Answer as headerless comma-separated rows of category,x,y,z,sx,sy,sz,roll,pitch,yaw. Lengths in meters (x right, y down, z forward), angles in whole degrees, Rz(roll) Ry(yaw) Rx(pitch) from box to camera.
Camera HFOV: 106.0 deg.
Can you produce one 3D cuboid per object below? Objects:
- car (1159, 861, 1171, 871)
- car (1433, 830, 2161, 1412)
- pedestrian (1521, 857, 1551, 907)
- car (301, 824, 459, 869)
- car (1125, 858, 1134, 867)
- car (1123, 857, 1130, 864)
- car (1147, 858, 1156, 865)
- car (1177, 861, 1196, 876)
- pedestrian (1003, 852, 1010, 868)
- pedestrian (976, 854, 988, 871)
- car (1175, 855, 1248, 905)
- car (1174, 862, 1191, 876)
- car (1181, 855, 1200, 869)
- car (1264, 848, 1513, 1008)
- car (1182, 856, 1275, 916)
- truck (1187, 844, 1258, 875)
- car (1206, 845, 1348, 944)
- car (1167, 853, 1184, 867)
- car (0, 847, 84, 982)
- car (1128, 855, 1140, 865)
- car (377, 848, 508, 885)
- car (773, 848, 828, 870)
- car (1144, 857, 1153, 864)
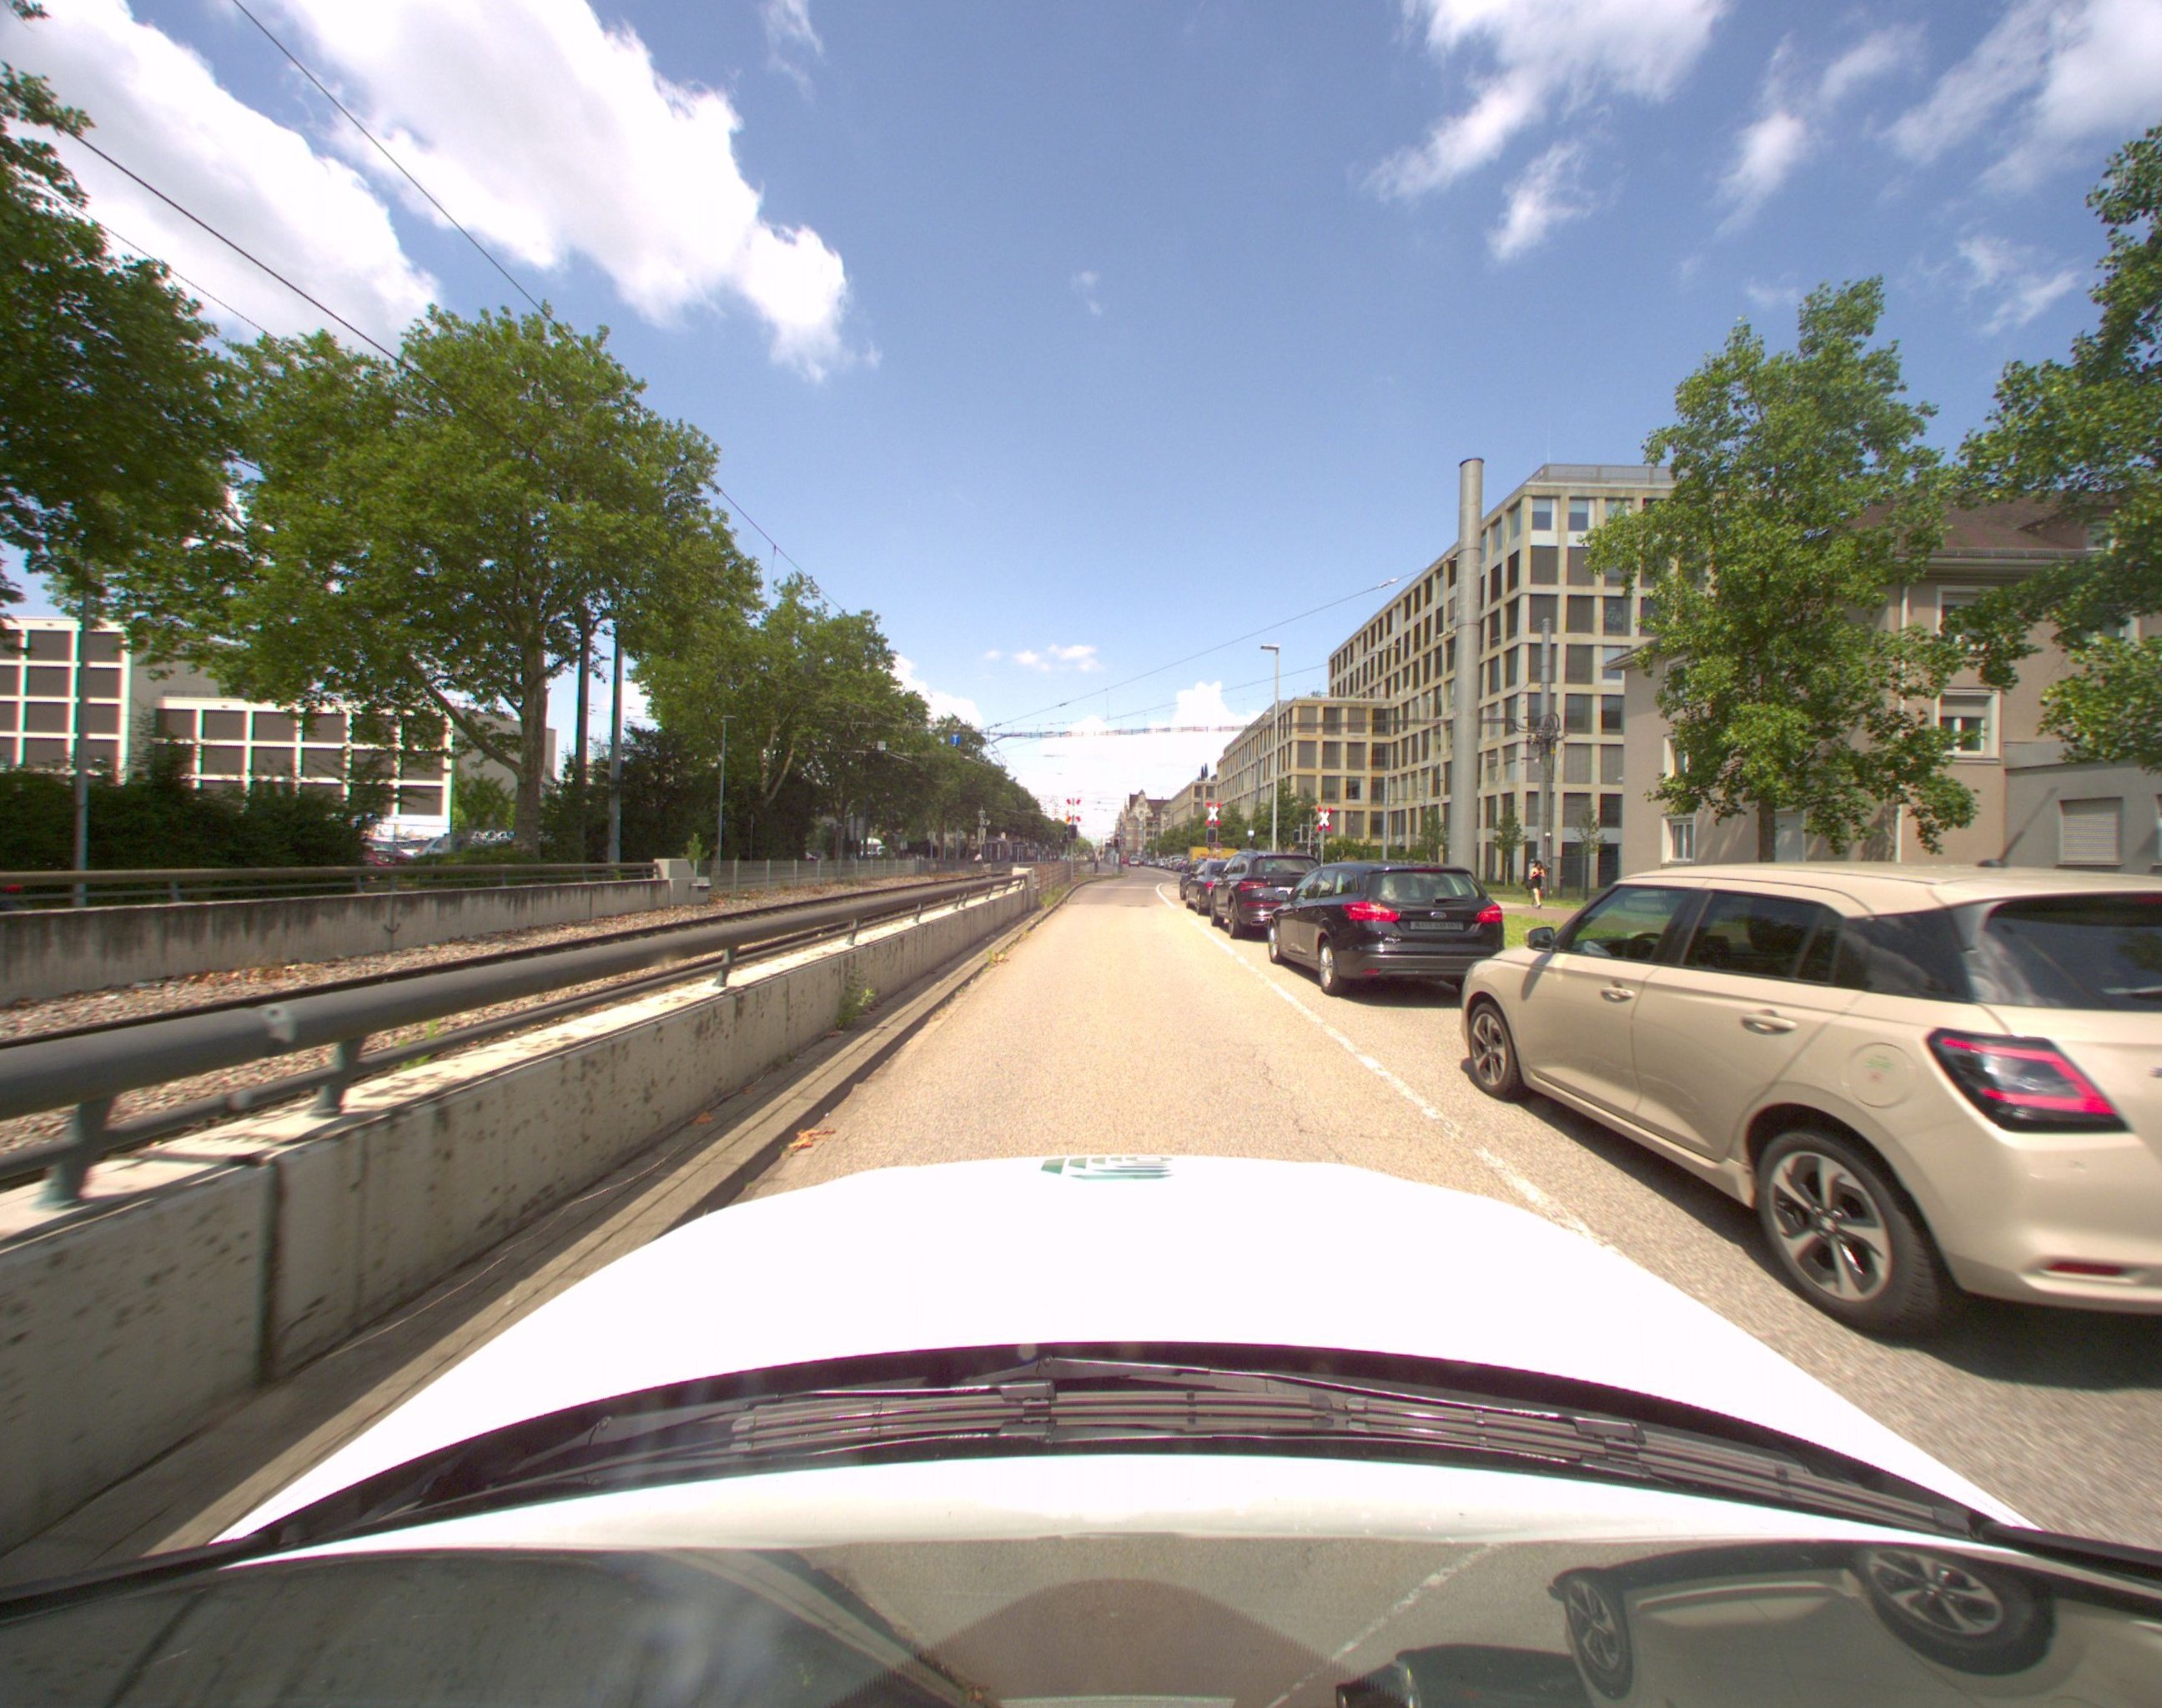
car,13.897,2.027,135.155,1.679,1.606,4.153,0,-1,1
car,3.308,0.721,4.043,1.662,1.515,3.854,0,-1,3
pedestrian,14.845,0.917,26.560,0.620,1.608,0.624,0,-1,-1
car,-25.412,-0.255,29.640,3.972,1.442,2.001,2,-1,2
car,11.478,2.053,192.655,1.986,2.014,4.001,0,-1,2
car,10.805,1.578,192.836,1.438,1.470,4.091,0,-1,0
car,14.520,1.507,167.883,1.585,1.460,3.615,3,0,3
car,12.591,1.714,97.601,1.762,1.767,4.841,2,-1,1
pedestrian,-8.450,0.679,92.085,0.704,1.845,0.864,0,-1,0
pedestrian,-7.915,0.677,64.993,0.859,1.343,0.922,0,-1,-2
car,4.357,0.839,27.741,1.773,1.540,4.420,0,-1,0
car,12.853,1.896,102.917,1.715,1.620,3.861,2,-1,1
car,12.445,0.951,92.380,1.685,1.505,4.069,2,-1,1
car,3.483,0.738,10.125,1.637,1.530,4.445,0,-1,3
car,3.958,0.803,22.699,1.810,1.454,4.992,0,0,1
truck,14.384,0.557,82.974,6.786,2.867,2.453,2,-1,-1
car,3.699,0.695,16.193,1.810,1.662,4.672,0,0,1
car,13.257,0.902,114.293,1.875,1.939,4.844,0,-1,1
car,-13.689,0.702,8.298,1.661,1.597,4.299,1,0,2
car,9.258,1.086,142.597,1.862,1.746,4.000,3,-1,1
car,-27.140,0.525,34.725,3.972,1.442,2.001,2,-1,2
car,-24.041,0.421,69.869,3.976,1.750,1.802,1,0,-2
car,14.901,1.459,179.117,1.586,1.434,4.106,4,0,0
